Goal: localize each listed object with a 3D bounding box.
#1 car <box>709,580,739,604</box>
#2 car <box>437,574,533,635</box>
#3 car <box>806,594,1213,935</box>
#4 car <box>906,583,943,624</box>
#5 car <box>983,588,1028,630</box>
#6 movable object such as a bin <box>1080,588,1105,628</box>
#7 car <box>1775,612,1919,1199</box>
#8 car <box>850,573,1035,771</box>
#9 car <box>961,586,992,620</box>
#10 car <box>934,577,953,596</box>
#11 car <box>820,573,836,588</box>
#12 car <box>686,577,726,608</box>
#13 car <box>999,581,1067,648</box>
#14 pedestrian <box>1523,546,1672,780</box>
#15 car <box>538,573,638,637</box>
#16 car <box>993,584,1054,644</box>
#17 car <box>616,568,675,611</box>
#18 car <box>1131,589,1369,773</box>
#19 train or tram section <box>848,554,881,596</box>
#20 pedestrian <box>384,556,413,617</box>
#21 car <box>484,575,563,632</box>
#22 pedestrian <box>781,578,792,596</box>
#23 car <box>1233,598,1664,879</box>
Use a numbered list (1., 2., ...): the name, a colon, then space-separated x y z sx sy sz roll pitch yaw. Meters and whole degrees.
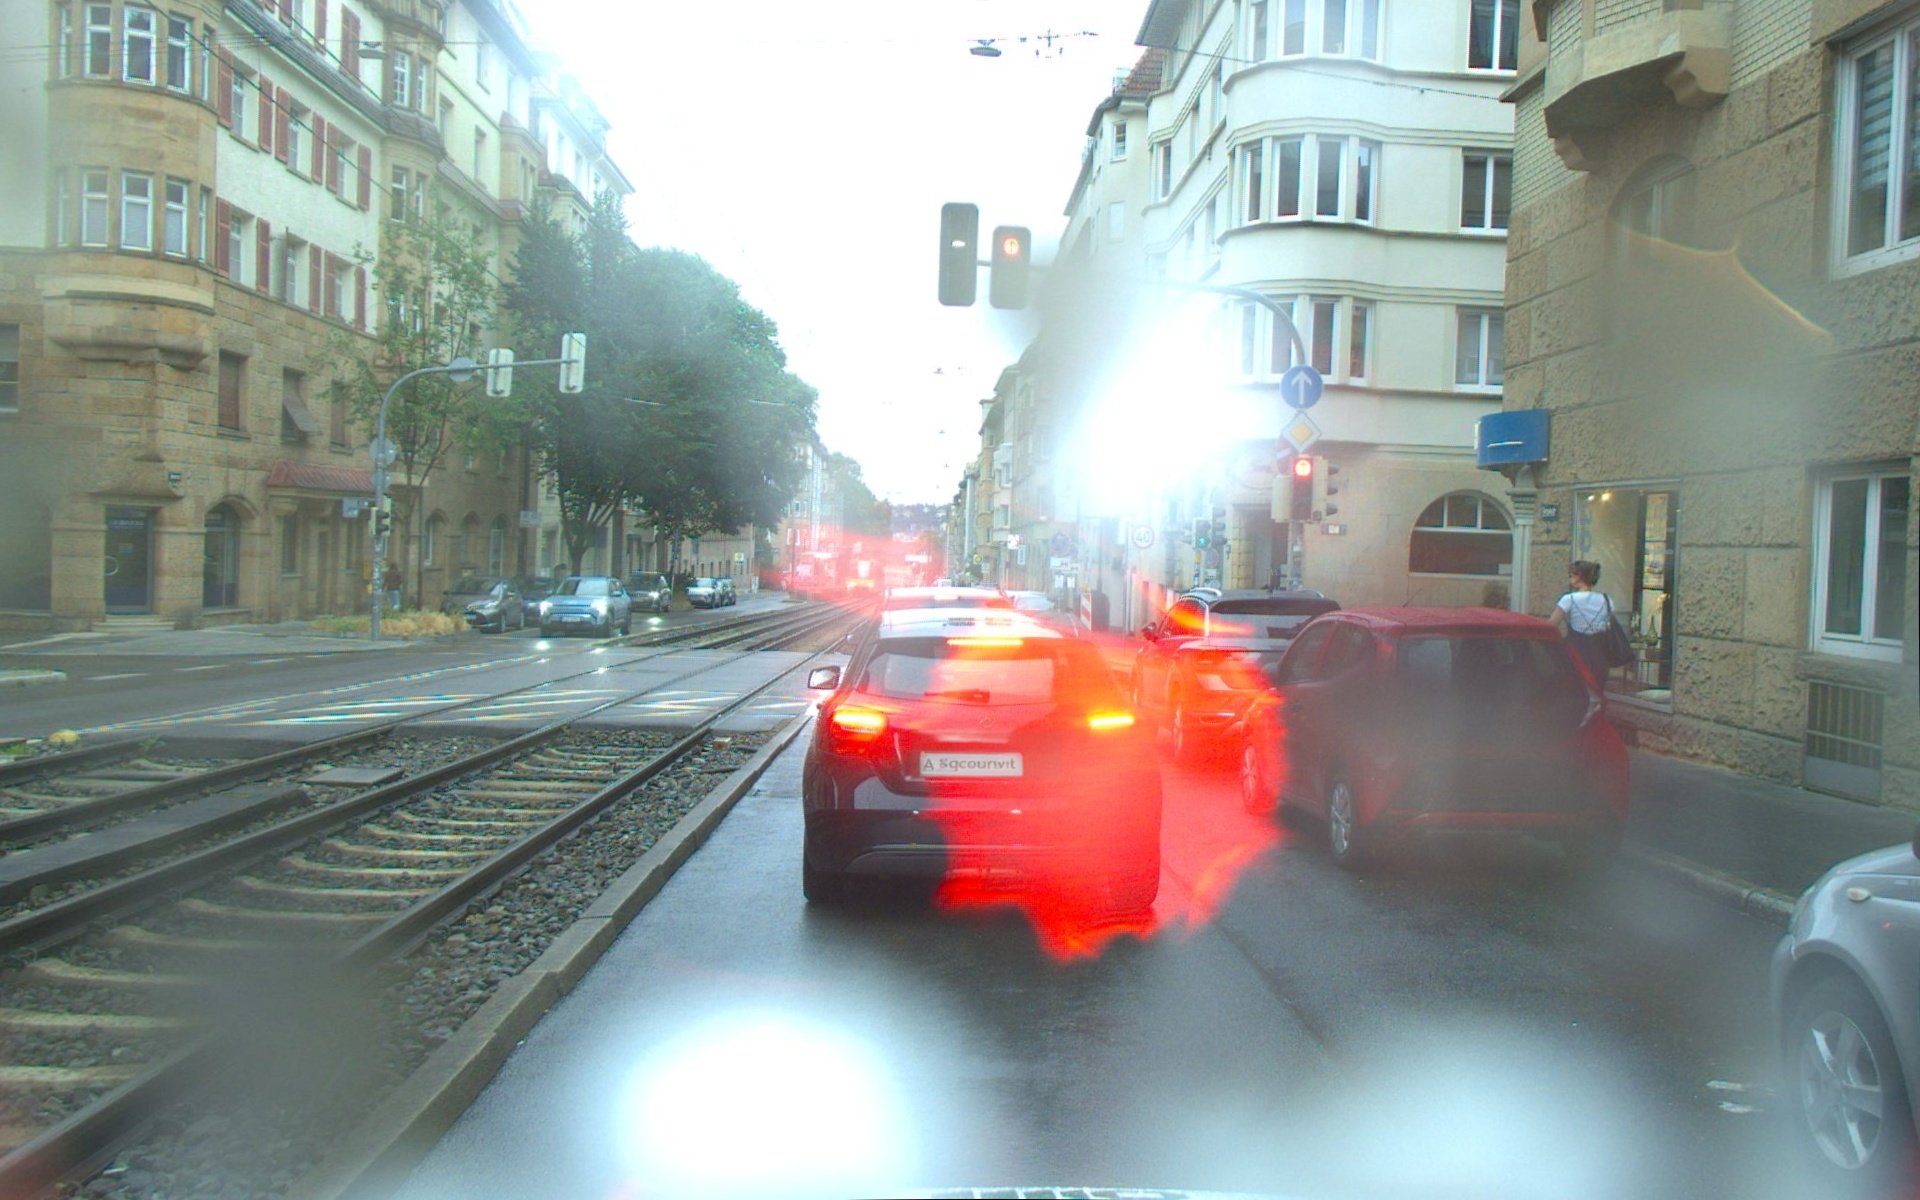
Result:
1. car: -14.023 -0.446 98.364 1.419 1.354 3.270 1 0 -3
2. car: -13.010 0.124 45.489 1.718 1.579 4.032 1 0 -4
3. car: 0.193 0.730 9.445 1.792 1.483 4.103 1 0 -1
4. car: -1.532 0.145 70.777 1.513 1.664 3.685 1 0 -1
5. car: 1.665 0.320 61.542 1.513 1.512 3.547 1 0 -1
6. movable object such as a bin: 4.765 0.296 59.637 0.859 1.413 0.983 1 -1 3
7. car: 3.126 0.786 3.094 1.581 1.493 3.312 0 0 0
8. car: -0.174 0.615 15.828 1.533 1.637 3.813 1 0 -1
9. car: 0.725 0.125 73.600 1.268 1.467 2.928 1 0 -1
10. car: -1.837 -1.477 182.364 1.953 1.909 3.999 1 0 -1
11. car: -12.247 -1.791 153.344 1.349 1.271 3.296 1 0 -2
12. car: -13.655 -0.389 88.960 1.557 1.608 3.917 1 0 -1
13. car: 1.840 0.346 42.660 1.513 1.618 3.547 1 0 -1
14. pedestrian: 5.056 0.485 13.179 0.726 1.778 1.111 1 -1 -1
15. car: -10.046 0.140 44.920 1.860 1.615 3.972 1 0 -1
16. car: 1.770 0.372 47.133 1.513 1.618 3.547 1 0 -1
17. car: -13.560 -0.417 71.498 1.837 1.767 3.917 1 0 -1
18. car: 2.633 0.674 15.789 1.513 1.512 3.829 1 0 -1
19. train or tram section: -9.377 -2.416 163.855 2.726 3.928 10.427 1 0 -1
20. pedestrian: -15.678 -0.370 46.206 0.619 1.702 0.701 1 -1 -10
21. car: -13.275 0.105 50.515 1.683 1.639 3.914 1 0 -5
22. pedestrian: -19.265 -1.423 183.451 1.031 1.992 1.043 2 0 0
23. car: 2.908 0.746 10.554 1.609 1.473 3.297 1 0 -3
